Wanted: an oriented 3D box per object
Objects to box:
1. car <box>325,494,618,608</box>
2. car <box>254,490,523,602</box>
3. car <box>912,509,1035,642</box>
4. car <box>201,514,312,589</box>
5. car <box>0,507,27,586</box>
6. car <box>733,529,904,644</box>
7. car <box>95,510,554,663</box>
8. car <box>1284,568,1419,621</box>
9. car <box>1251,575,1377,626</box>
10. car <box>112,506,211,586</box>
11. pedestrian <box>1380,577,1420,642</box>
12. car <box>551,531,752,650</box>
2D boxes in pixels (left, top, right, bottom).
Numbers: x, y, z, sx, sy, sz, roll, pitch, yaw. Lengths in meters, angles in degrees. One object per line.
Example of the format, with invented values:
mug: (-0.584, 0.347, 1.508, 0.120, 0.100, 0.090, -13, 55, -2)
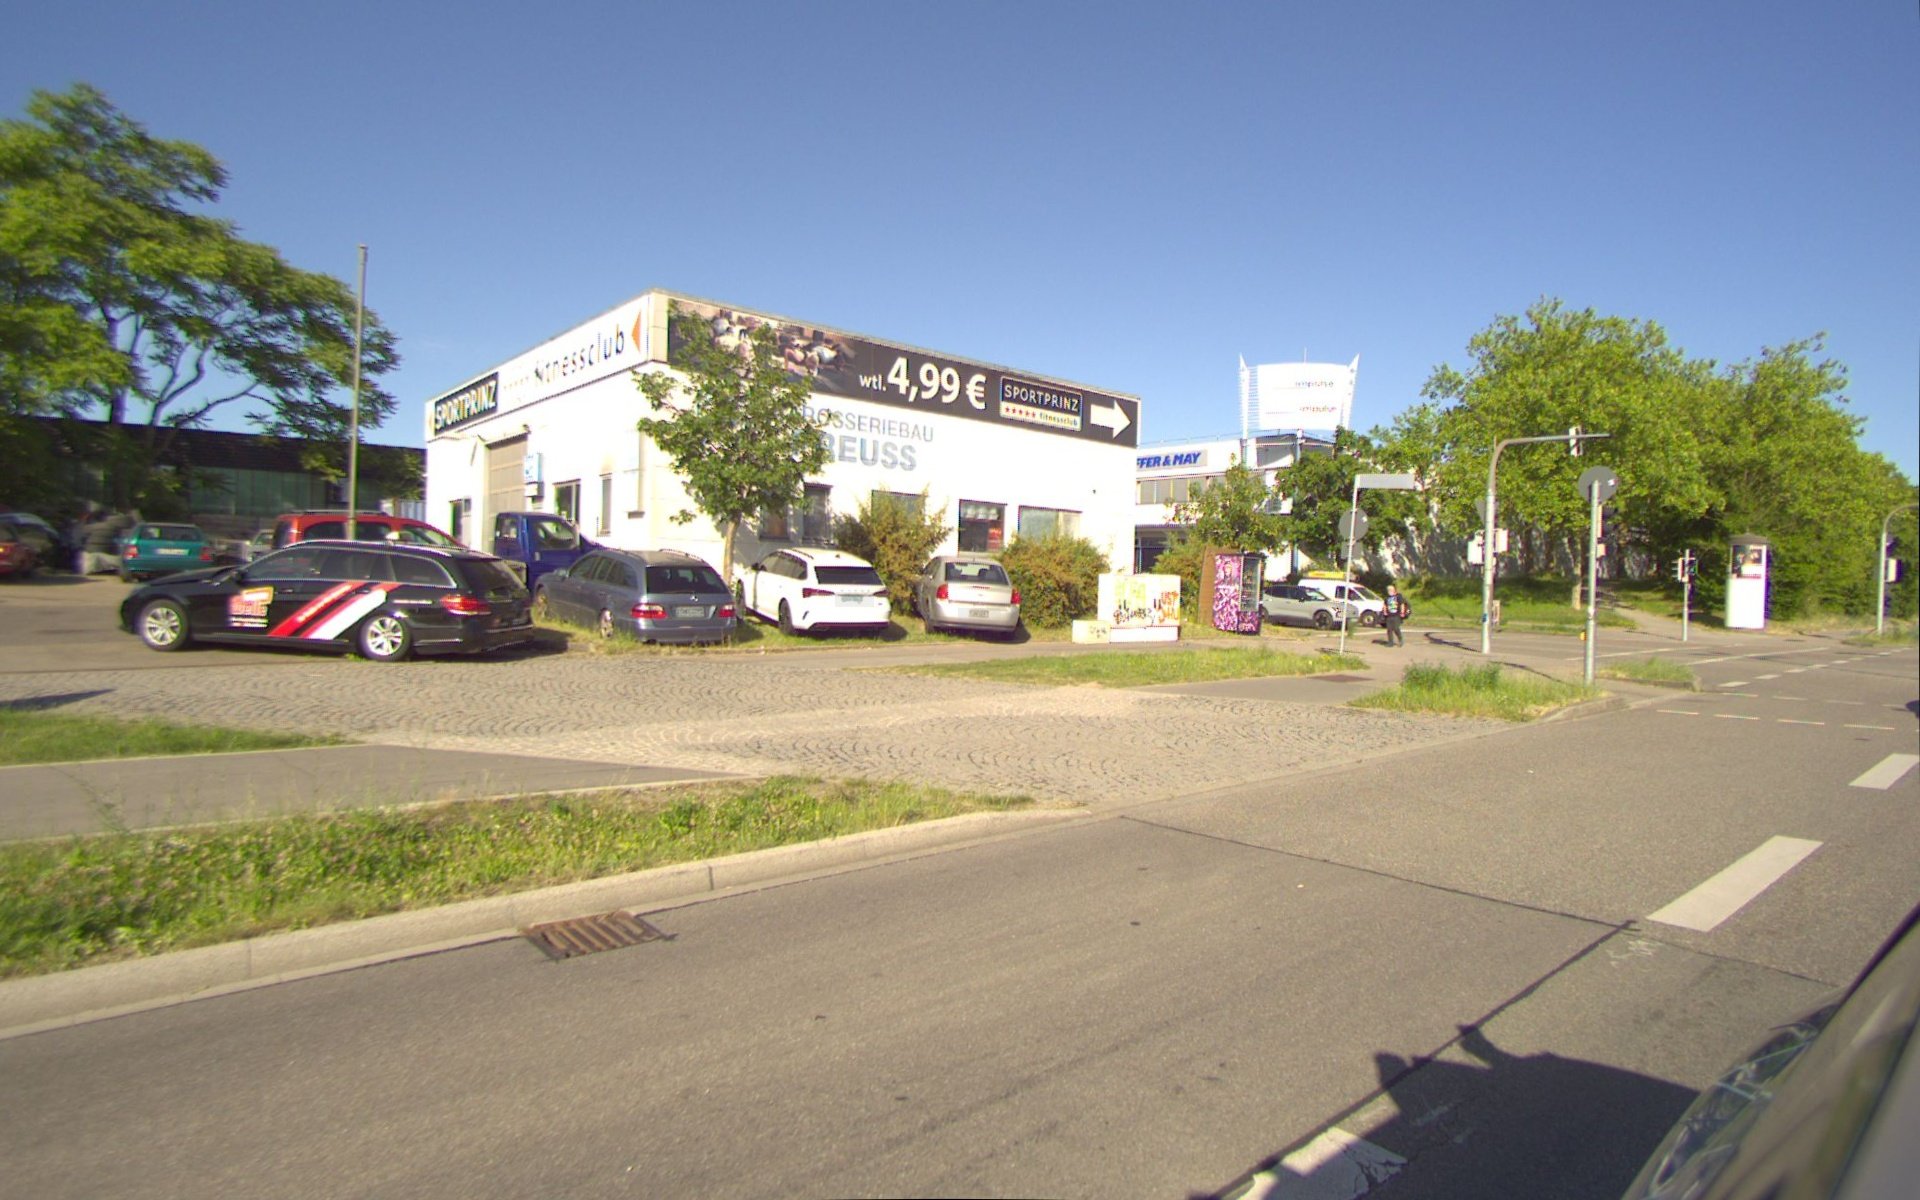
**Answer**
car: (-8.790, -0.878, 18.484, 4.519, 1.804, 1.686, -1, 6, -43)
car: (-10.814, -1.013, 19.314, 4.146, 1.883, 1.896, -1, 6, -43)
car: (0.145, -0.602, 19.951, 1.652, 2.035, 4.013, 5, 7, -9)
car: (-18.565, -1.337, 26.643, 1.960, 1.537, 4.215, -3, 9, -41)
car: (-21.123, -1.190, 21.576, 1.637, 1.391, 3.775, -3, 9, -41)
car: (-2.673, -0.315, 18.239, 1.690, 1.468, 3.943, 1, 8, -29)
car: (-7.954, -0.222, 12.946, 4.748, 1.549, 1.900, 3, 3, 3)
car: (15.513, -0.255, 40.286, 1.839, 1.958, 4.691, 0, 2, -39)
car: (13.196, -0.047, 37.903, 1.868, 1.665, 4.101, -1, 4, -39)
car: (-19.300, -1.374, 24.403, 1.637, 1.617, 4.214, -3, 8, -41)
pedestrian: (12.055, 0.251, 27.735, 0.607, 1.737, 0.759, 0, 2, -41)
car: (-4.970, -0.234, 16.016, 1.808, 1.304, 3.620, -1, 9, -39)
